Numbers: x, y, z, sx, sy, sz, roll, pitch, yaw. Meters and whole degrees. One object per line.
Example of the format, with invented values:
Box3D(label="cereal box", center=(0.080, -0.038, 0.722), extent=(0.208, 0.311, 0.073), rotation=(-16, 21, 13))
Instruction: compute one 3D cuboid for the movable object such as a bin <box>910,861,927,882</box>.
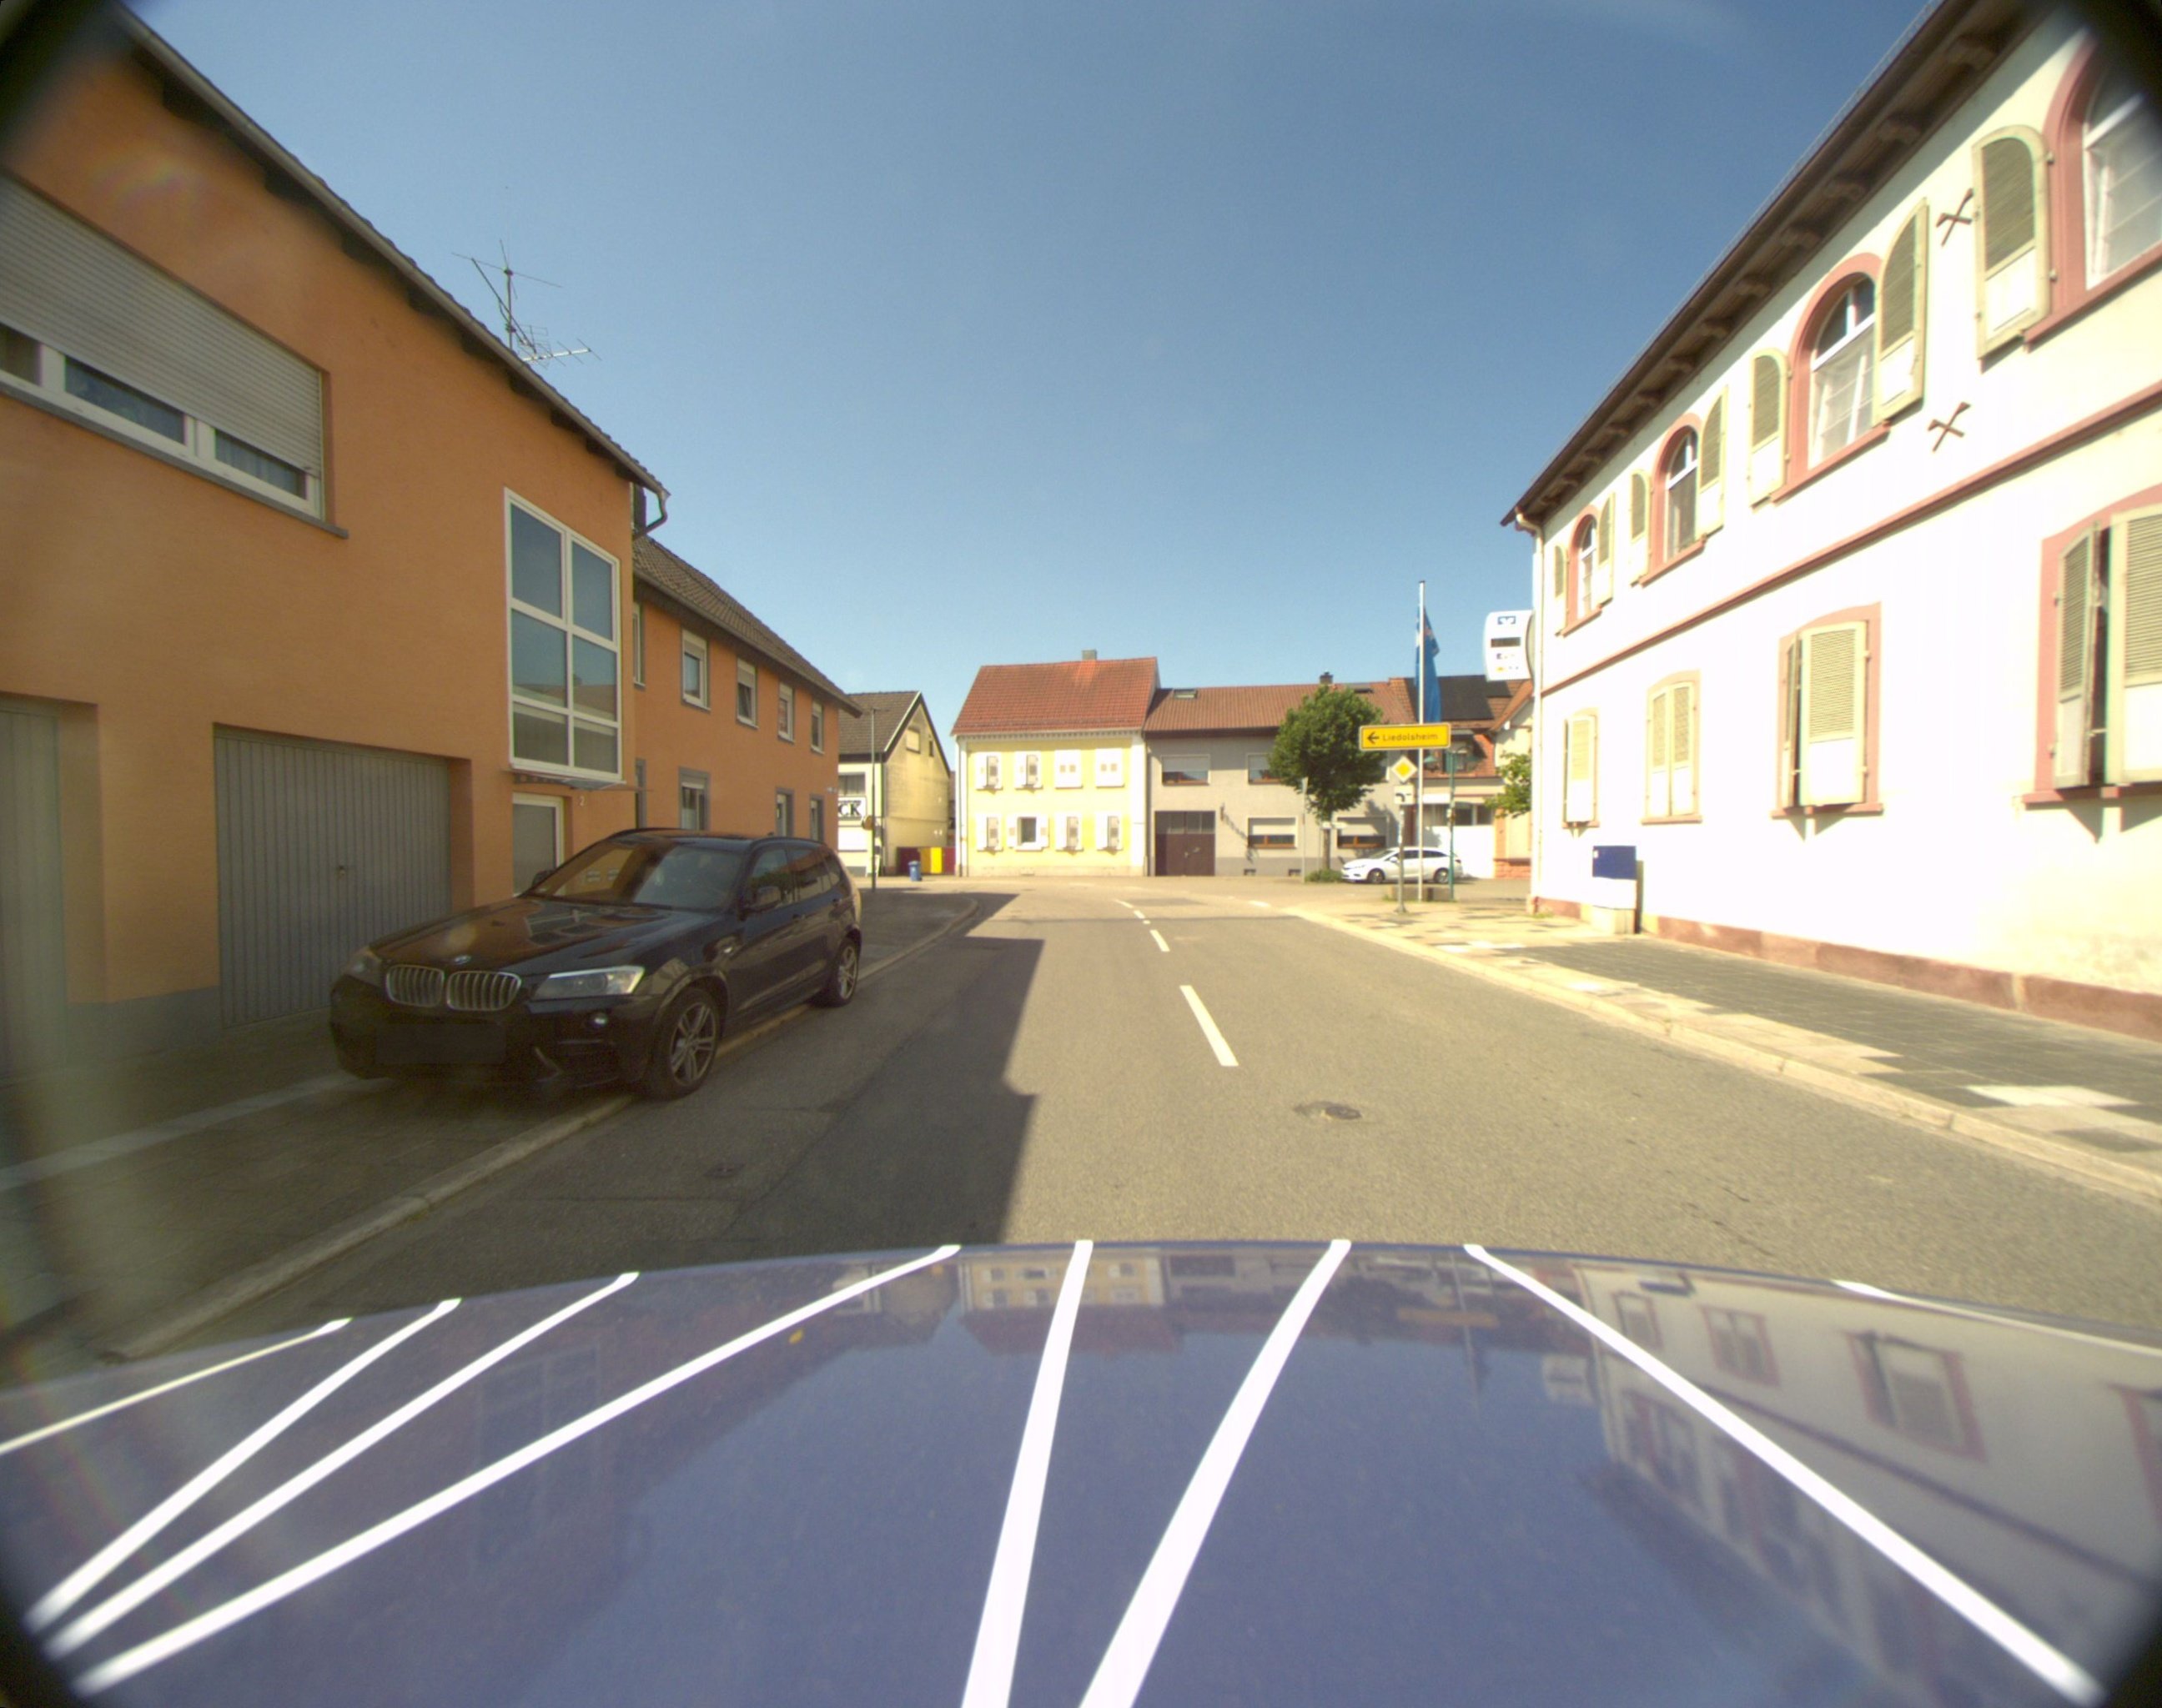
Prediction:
Box3D(label="movable object such as a bin", center=(-7.702, 0.832, 36.079), extent=(0.613, 0.975, 0.645), rotation=(0, 2, 3))

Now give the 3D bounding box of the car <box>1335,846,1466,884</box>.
Box3D(label="car", center=(12.848, 0.421, 30.698), extent=(4.510, 1.432, 1.854), rotation=(-1, 1, -1))

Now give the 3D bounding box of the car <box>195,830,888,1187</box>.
Box3D(label="car", center=(-3.267, 0.717, 6.248), extent=(1.848, 1.693, 5.180), rotation=(1, 1, 2))
